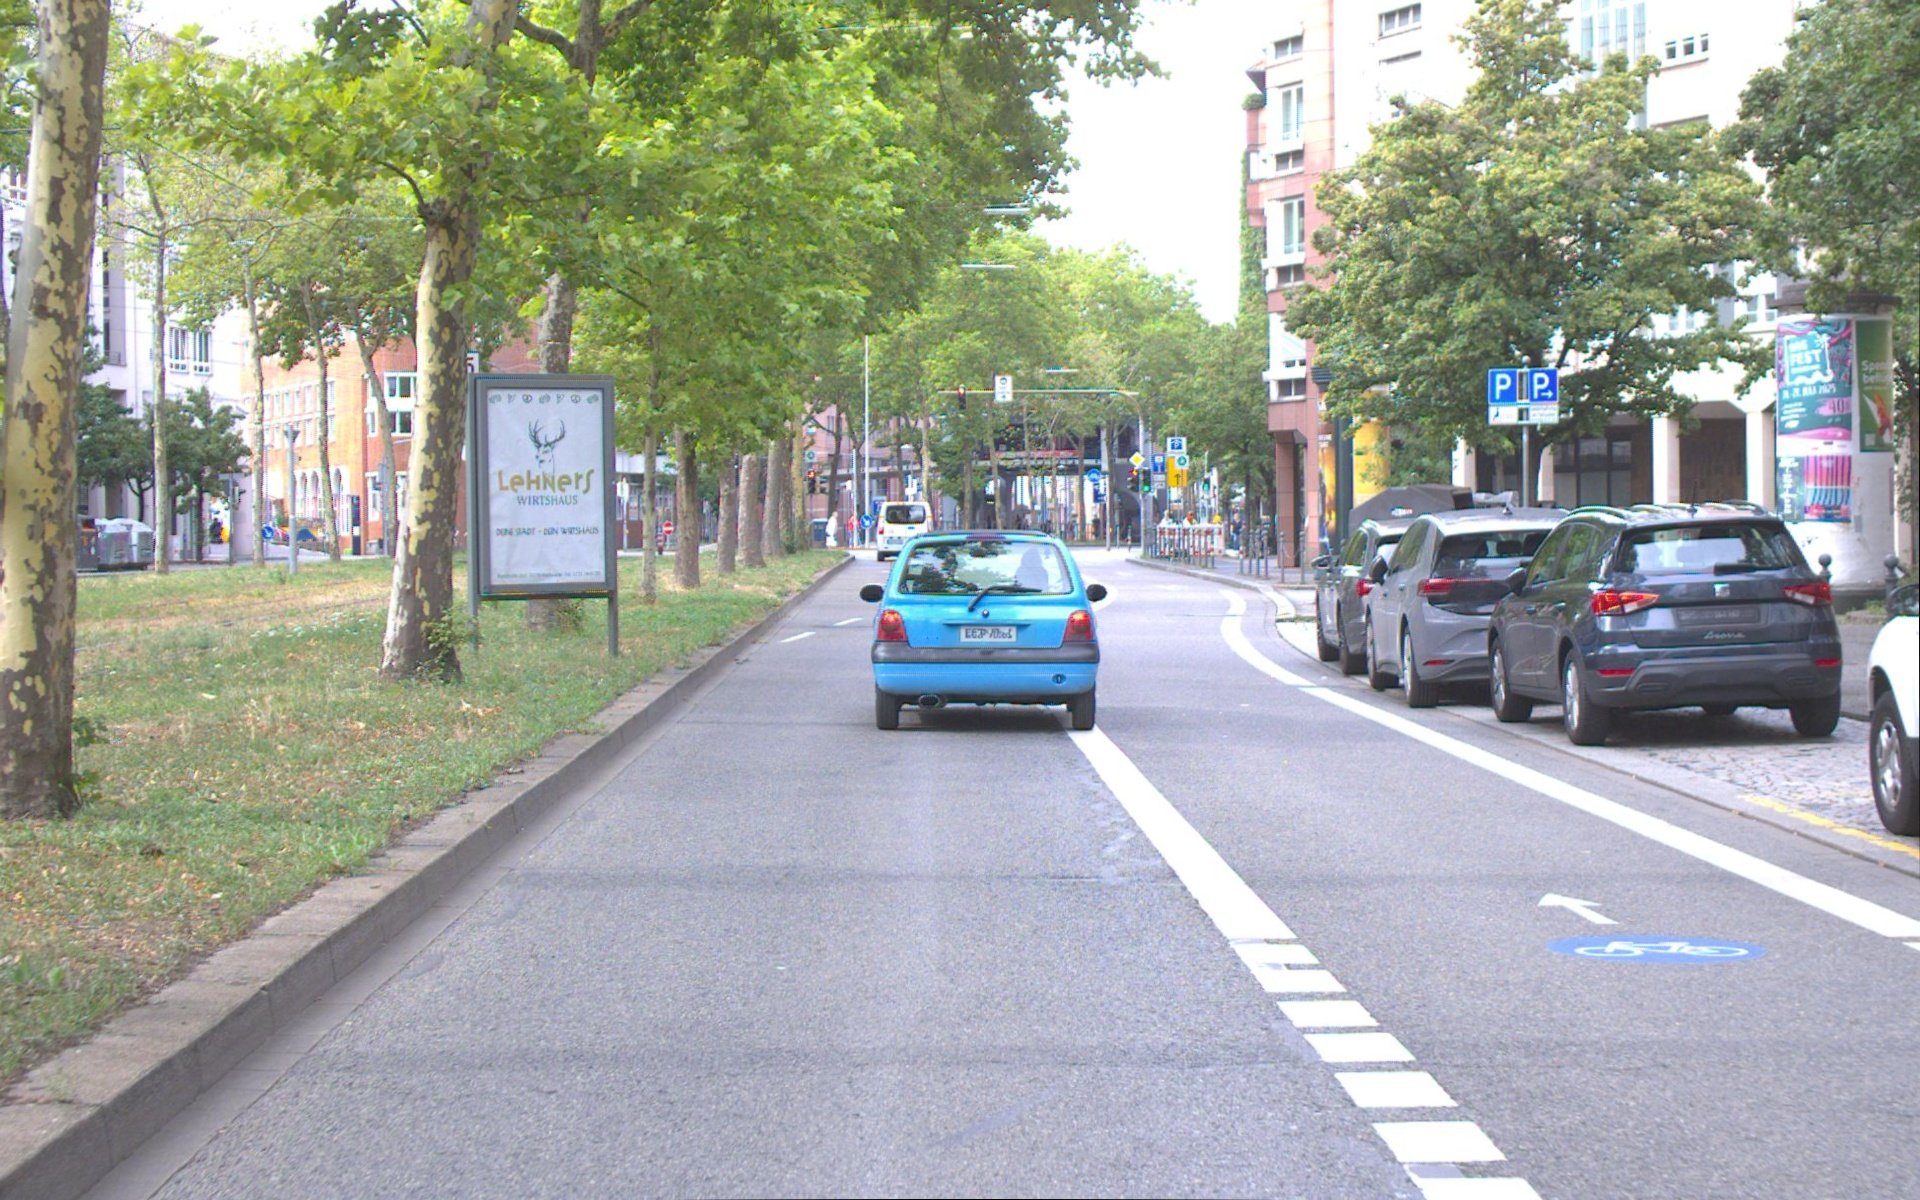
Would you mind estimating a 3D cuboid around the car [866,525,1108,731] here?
[{"bbox_3d":[0.189,0.150,25.356,1.640,1.381,3.843,0,1,0],"label":"car"}]

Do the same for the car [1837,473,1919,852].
[{"bbox_3d":[5.057,0.264,14.360,1.861,1.647,4.163,-1,2,3],"label":"car"}]

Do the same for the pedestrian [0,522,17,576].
[{"bbox_3d":[-30.307,-1.634,108.950,0.552,1.699,0.884,0,1,4],"label":"pedestrian"}]

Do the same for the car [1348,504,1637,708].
[{"bbox_3d":[4.338,-0.015,28.603,1.740,1.513,4.401,-2,2,1],"label":"car"}]

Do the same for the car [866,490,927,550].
[{"bbox_3d":[-2.063,-2.662,113.268,1.931,1.919,4.956,0,2,0],"label":"car"}]

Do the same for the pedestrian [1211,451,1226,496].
[{"bbox_3d":[9.387,-4.584,124.903,0.517,1.610,0.851,0,1,5],"label":"pedestrian"}]

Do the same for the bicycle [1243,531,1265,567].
[{"bbox_3d":[9.209,-1.588,107.637,0.612,1.114,1.804,0,1,7],"label":"bicycle"}]

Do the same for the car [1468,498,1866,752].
[{"bbox_3d":[4.706,0.094,23.463,1.715,1.513,4.204,-2,2,-1],"label":"car"}]

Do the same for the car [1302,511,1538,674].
[{"bbox_3d":[4.441,-0.128,33.807,1.817,1.437,4.666,-1,1,2],"label":"car"}]
